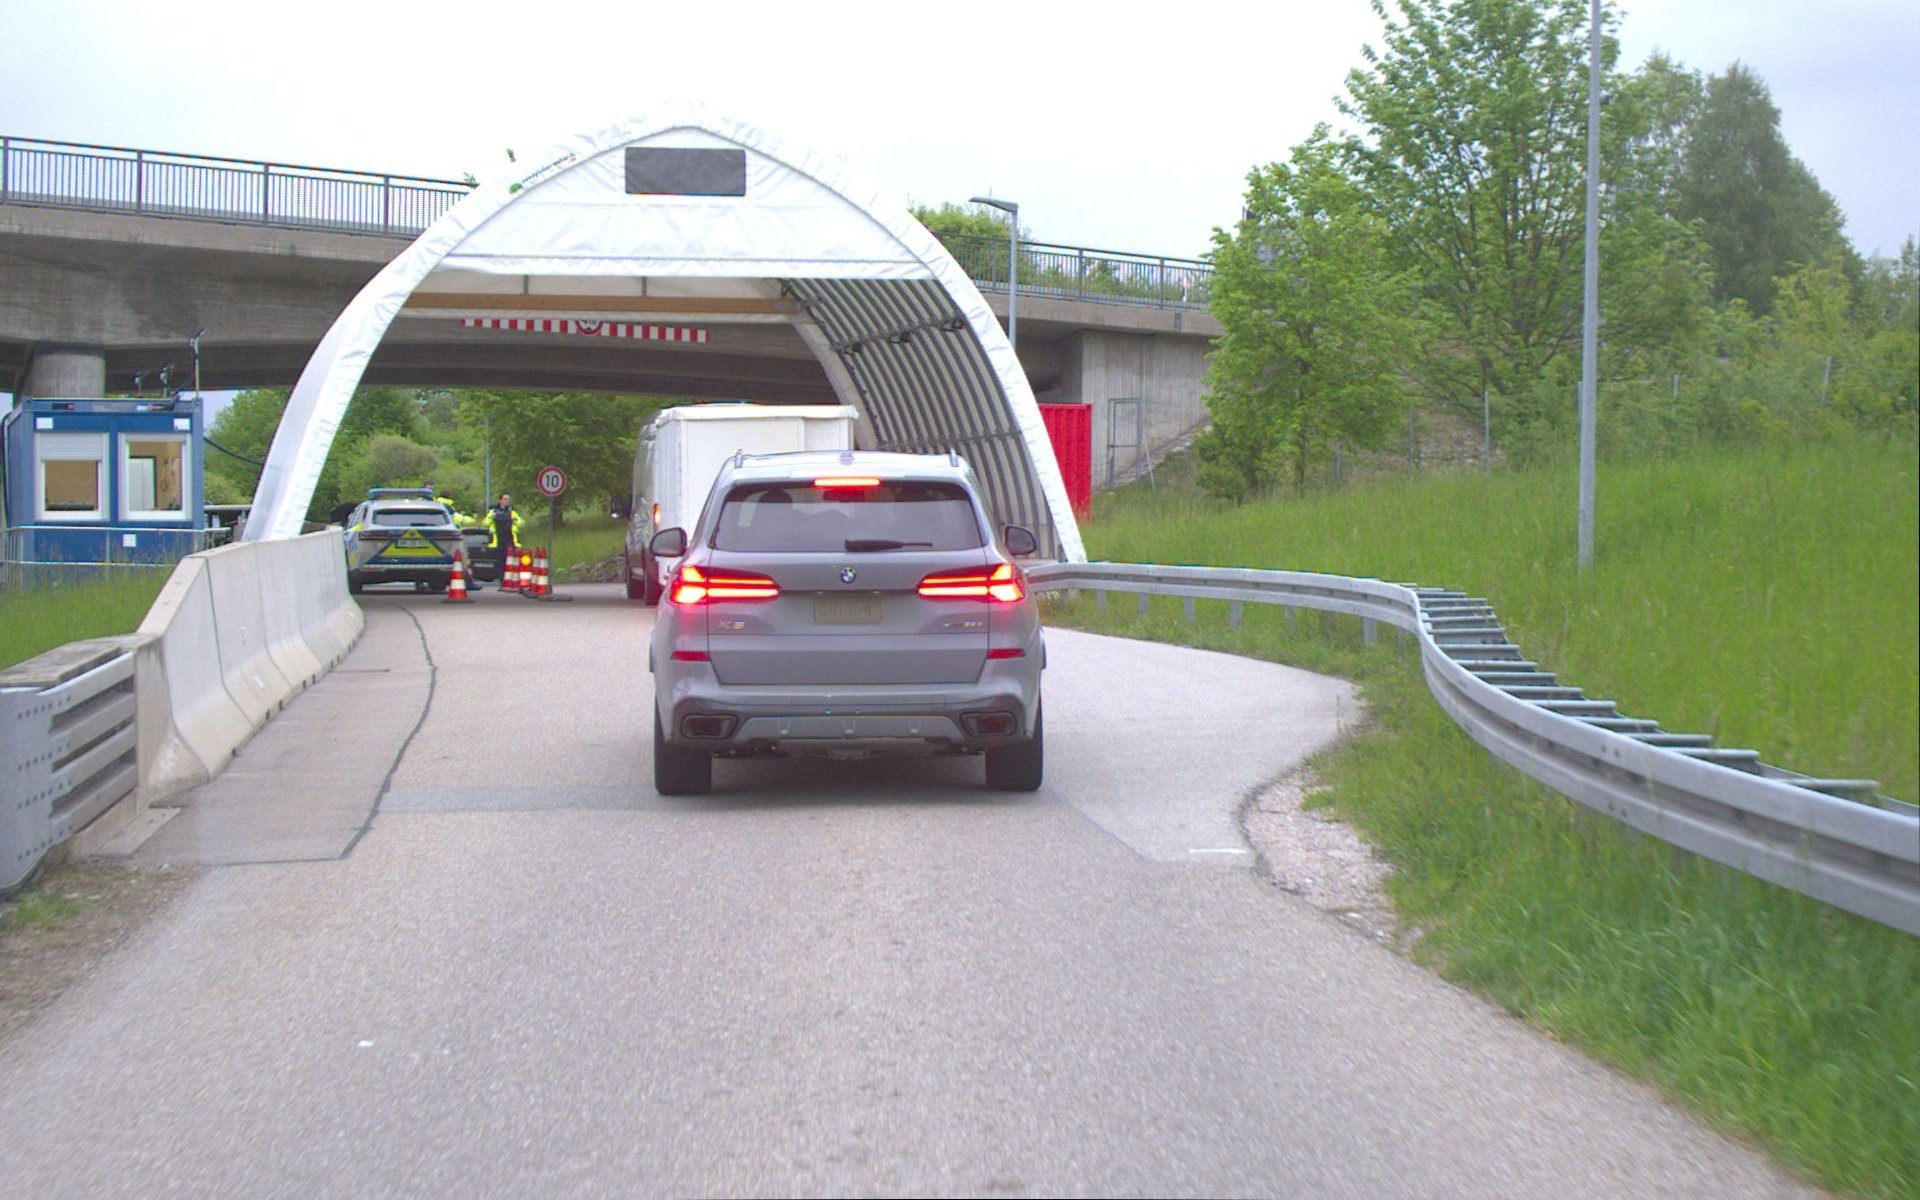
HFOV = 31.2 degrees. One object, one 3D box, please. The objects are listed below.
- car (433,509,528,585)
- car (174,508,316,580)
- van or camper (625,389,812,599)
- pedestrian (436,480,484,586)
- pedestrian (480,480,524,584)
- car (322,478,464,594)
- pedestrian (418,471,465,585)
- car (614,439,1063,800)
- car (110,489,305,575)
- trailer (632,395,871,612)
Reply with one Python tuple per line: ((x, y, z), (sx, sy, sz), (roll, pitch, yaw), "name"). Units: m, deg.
((-12.235, -1.365, 87.558), (1.703, 1.847, 4.001), (-2, 2, -18), "car")
((-14.784, -1.152, 70.996), (1.515, 1.437, 3.314), (-2, 2, -38), "car")
((-3.488, -1.442, 48.530), (2.156, 2.754, 5.873), (-1, 1, -8), "van or camper")
((-8.466, -1.131, 58.210), (0.720, 1.769, 0.690), (-1, 1, -12), "pedestrian")
((-7.927, -1.181, 59.461), (0.648, 1.769, 0.606), (-1, 1, -14), "pedestrian")
((-9.191, -1.046, 55.507), (1.993, 1.766, 3.767), (-1, 1, -13), "car")
((-8.909, -1.235, 59.064), (0.720, 1.939, 0.690), (-1, 1, -12), "pedestrian")
((-0.525, 0.056, 18.497), (1.994, 1.713, 4.000), (-1, 1, 4), "car")
((-17.048, -1.541, 77.991), (3.987, 1.847, 1.709), (-1, 1, 3), "car")
((-2.674, -1.133, 42.261), (2.278, 2.422, 6.819), (-1, 1, -9), "trailer")
